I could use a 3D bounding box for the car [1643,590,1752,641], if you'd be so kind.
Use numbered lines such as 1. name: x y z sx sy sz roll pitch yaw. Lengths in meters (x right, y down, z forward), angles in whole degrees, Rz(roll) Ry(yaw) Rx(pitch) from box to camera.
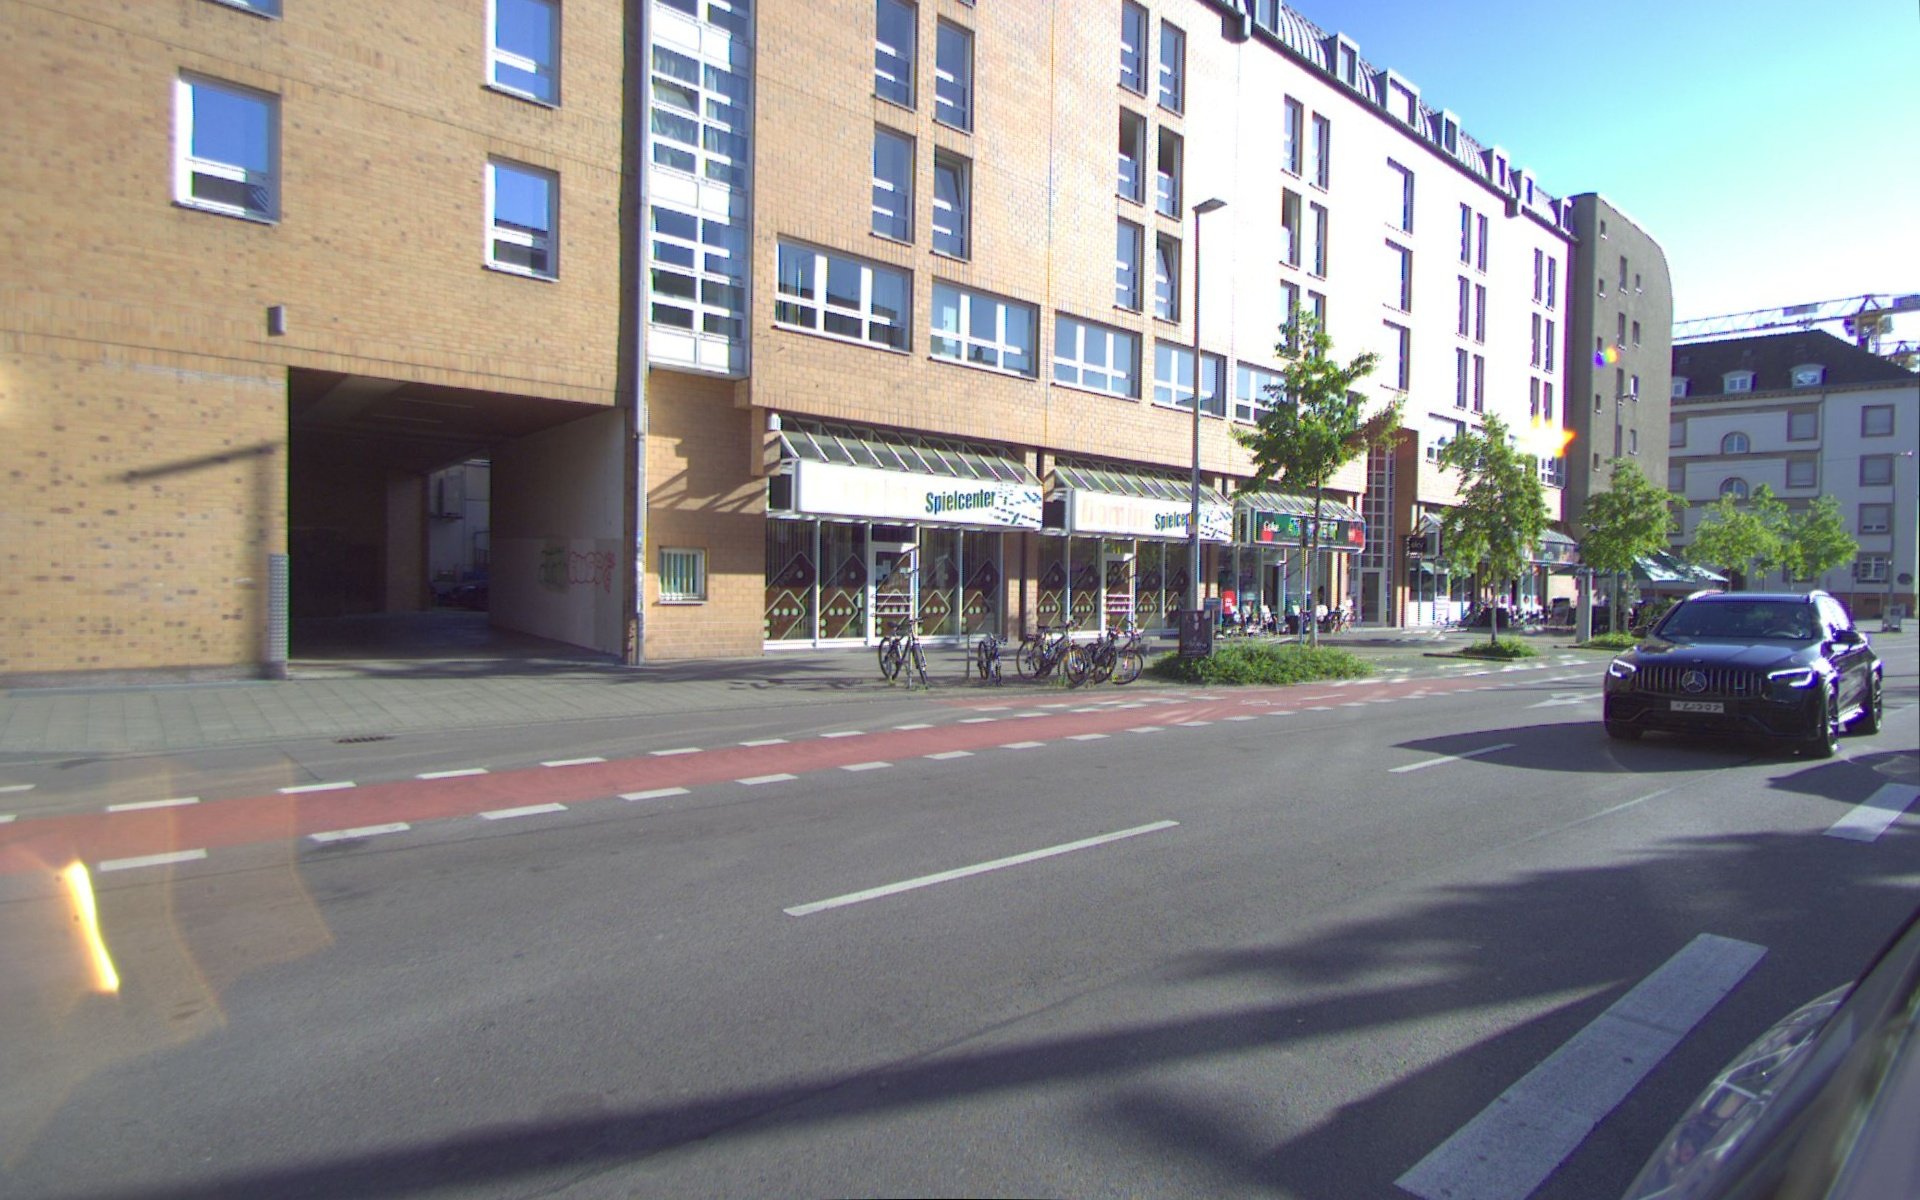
1. car: 25.879 0.514 35.481 3.921 1.660 1.782 0 1 -33

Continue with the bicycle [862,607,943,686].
1. bicycle: -0.941 0.712 16.250 0.423 1.089 1.776 -1 4 -35

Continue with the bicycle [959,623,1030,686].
1. bicycle: 0.542 0.870 16.697 0.359 0.842 1.779 0 3 -26

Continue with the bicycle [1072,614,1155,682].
1. bicycle: 2.647 0.806 17.658 0.440 0.997 1.843 0 3 -26

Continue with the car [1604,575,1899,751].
1. car: 9.034 0.582 11.417 4.375 1.615 1.806 0 -1 -41

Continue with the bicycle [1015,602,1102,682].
1. bicycle: 1.644 0.673 17.178 0.553 1.177 1.843 0 3 -26

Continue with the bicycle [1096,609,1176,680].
1. bicycle: 3.080 0.756 17.878 0.343 1.069 1.843 0 3 -26
